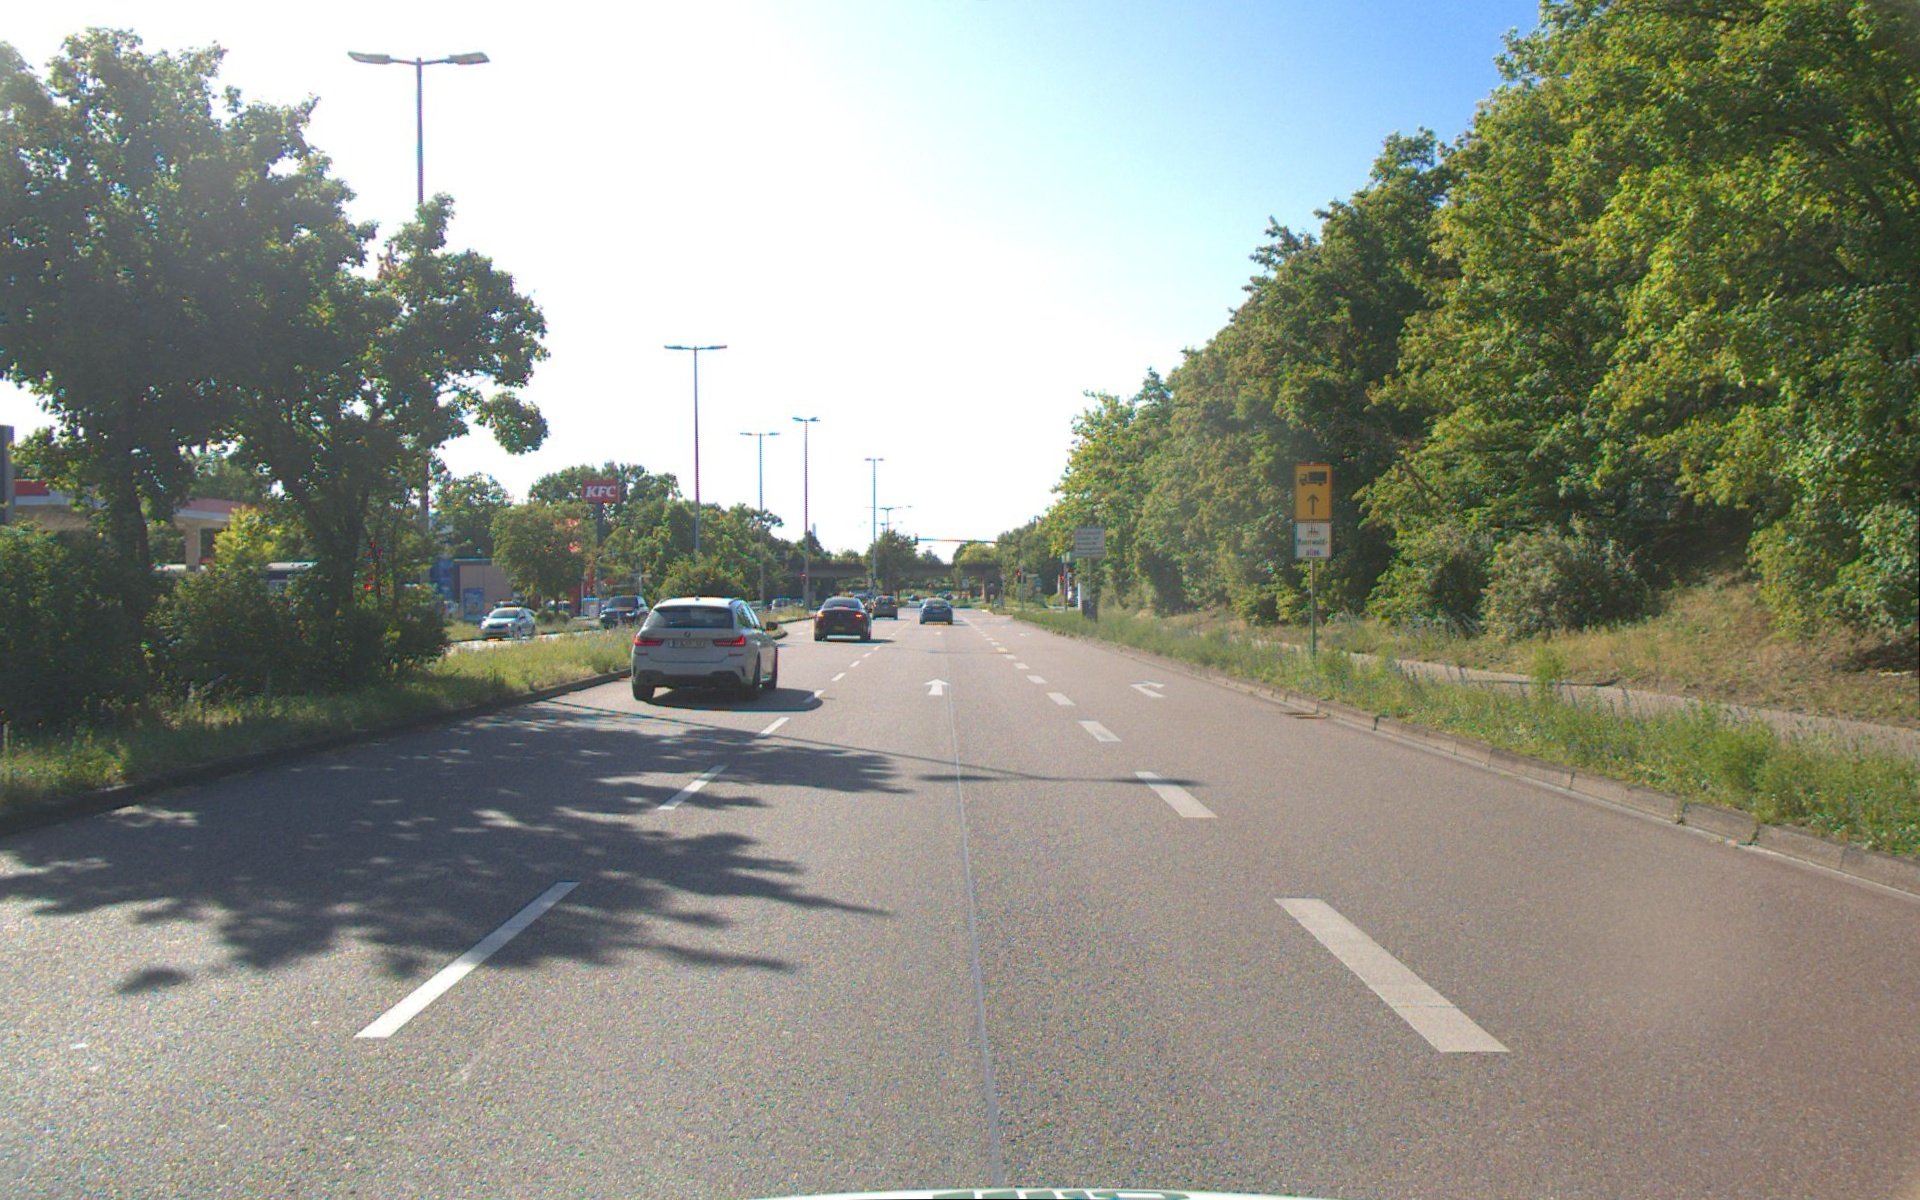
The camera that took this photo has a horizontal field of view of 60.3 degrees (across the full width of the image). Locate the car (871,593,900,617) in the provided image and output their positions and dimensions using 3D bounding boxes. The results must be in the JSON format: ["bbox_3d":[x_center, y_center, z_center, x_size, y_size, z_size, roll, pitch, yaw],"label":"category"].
[{"bbox_3d":[-5.091,0.334,113.769,1.824,1.592,4.546,-1,0,-1],"label":"car"}]

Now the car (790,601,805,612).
[{"bbox_3d":[-22.068,0.872,224.766,1.669,1.427,3.722,0,0,-1],"label":"car"}]

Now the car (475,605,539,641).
[{"bbox_3d":[-20.520,1.013,75.083,1.704,1.481,4.208,-3,0,-1],"label":"car"}]

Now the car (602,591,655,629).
[{"bbox_3d":[-17.173,0.496,85.881,1.704,1.833,4.671,-4,0,0],"label":"car"}]

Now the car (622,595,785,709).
[{"bbox_3d":[-3.767,0.713,25.036,1.824,1.480,4.546,1,1,-1],"label":"car"}]

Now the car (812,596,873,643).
[{"bbox_3d":[-4.022,0.634,57.120,1.824,1.480,4.546,-1,0,-1],"label":"car"}]

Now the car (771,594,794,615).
[{"bbox_3d":[-13.700,0.341,127.786,1.463,1.535,3.486,-1,0,-1],"label":"car"}]

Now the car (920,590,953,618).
[{"bbox_3d":[-1.328,0.229,94.858,1.824,1.525,4.335,-1,0,-1],"label":"car"}]

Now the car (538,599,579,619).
[{"bbox_3d":[-37.110,0.833,152.935,1.913,1.814,4.020,-1,0,-44],"label":"car"}]
